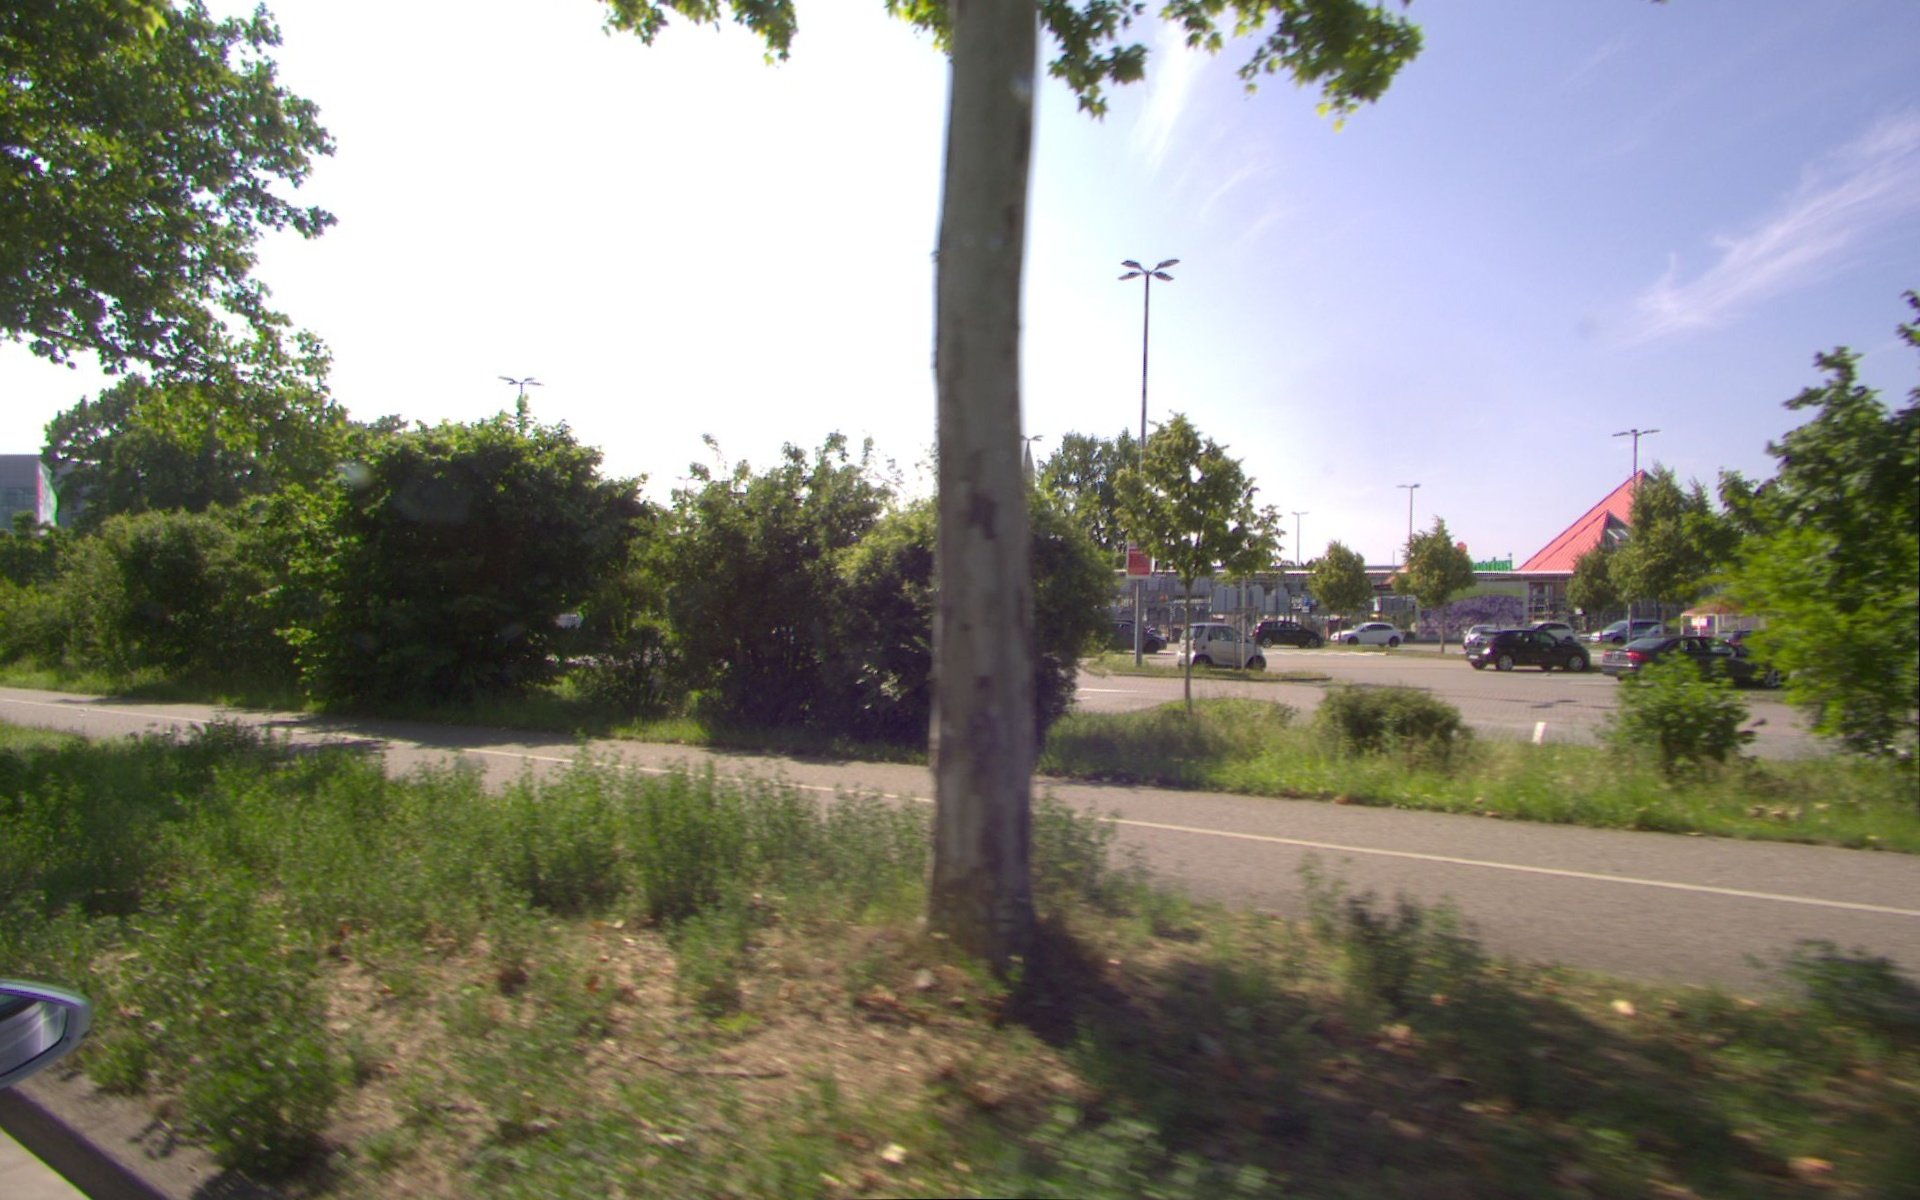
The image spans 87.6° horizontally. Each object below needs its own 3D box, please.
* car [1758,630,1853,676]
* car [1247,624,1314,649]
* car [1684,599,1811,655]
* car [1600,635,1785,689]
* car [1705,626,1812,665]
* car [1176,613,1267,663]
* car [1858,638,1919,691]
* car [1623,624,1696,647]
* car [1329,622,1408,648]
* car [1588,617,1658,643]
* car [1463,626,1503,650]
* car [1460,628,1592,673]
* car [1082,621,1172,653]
[{"bbox_3d":[41.009,2.556,48.601,3.483,2.191,1.558,1,-1,-5],"label":"car"},{"bbox_3d":[18.427,2.082,57.637,3.394,1.401,1.405,1,-1,-7],"label":"car"},{"bbox_3d":[42.103,1.467,53.634,5.182,2.889,2.307,1,-1,-5],"label":"car"},{"bbox_3d":[19.698,1.653,27.036,3.922,1.371,1.445,0,-1,1],"label":"car"},{"bbox_3d":[31.719,1.791,39.804,3.435,1.527,1.499,1,-1,-12],"label":"car"},{"bbox_3d":[8.129,1.192,31.124,2.575,1.510,0.943,1,-2,-10],"label":"car"},{"bbox_3d":[25.407,1.703,25.333,3.751,1.288,1.785,3,-2,-1],"label":"car"},{"bbox_3d":[41.090,2.097,58.872,3.256,1.265,1.394,0,-2,6],"label":"car"},{"bbox_3d":[24.694,2.104,60.605,3.924,1.517,2.000,1,-1,-8],"label":"car"},{"bbox_3d":[40.525,1.845,61.227,3.256,1.529,1.394,0,-2,6],"label":"car"},{"bbox_3d":[29.262,2.166,55.971,1.615,1.282,3.721,-1,-3,34],"label":"car"},{"bbox_3d":[19.491,1.738,34.551,3.798,1.460,1.496,1,-2,-5],"label":"car"},{"bbox_3d":[7.834,1.733,47.172,3.922,1.438,1.656,1,-2,0],"label":"car"}]
